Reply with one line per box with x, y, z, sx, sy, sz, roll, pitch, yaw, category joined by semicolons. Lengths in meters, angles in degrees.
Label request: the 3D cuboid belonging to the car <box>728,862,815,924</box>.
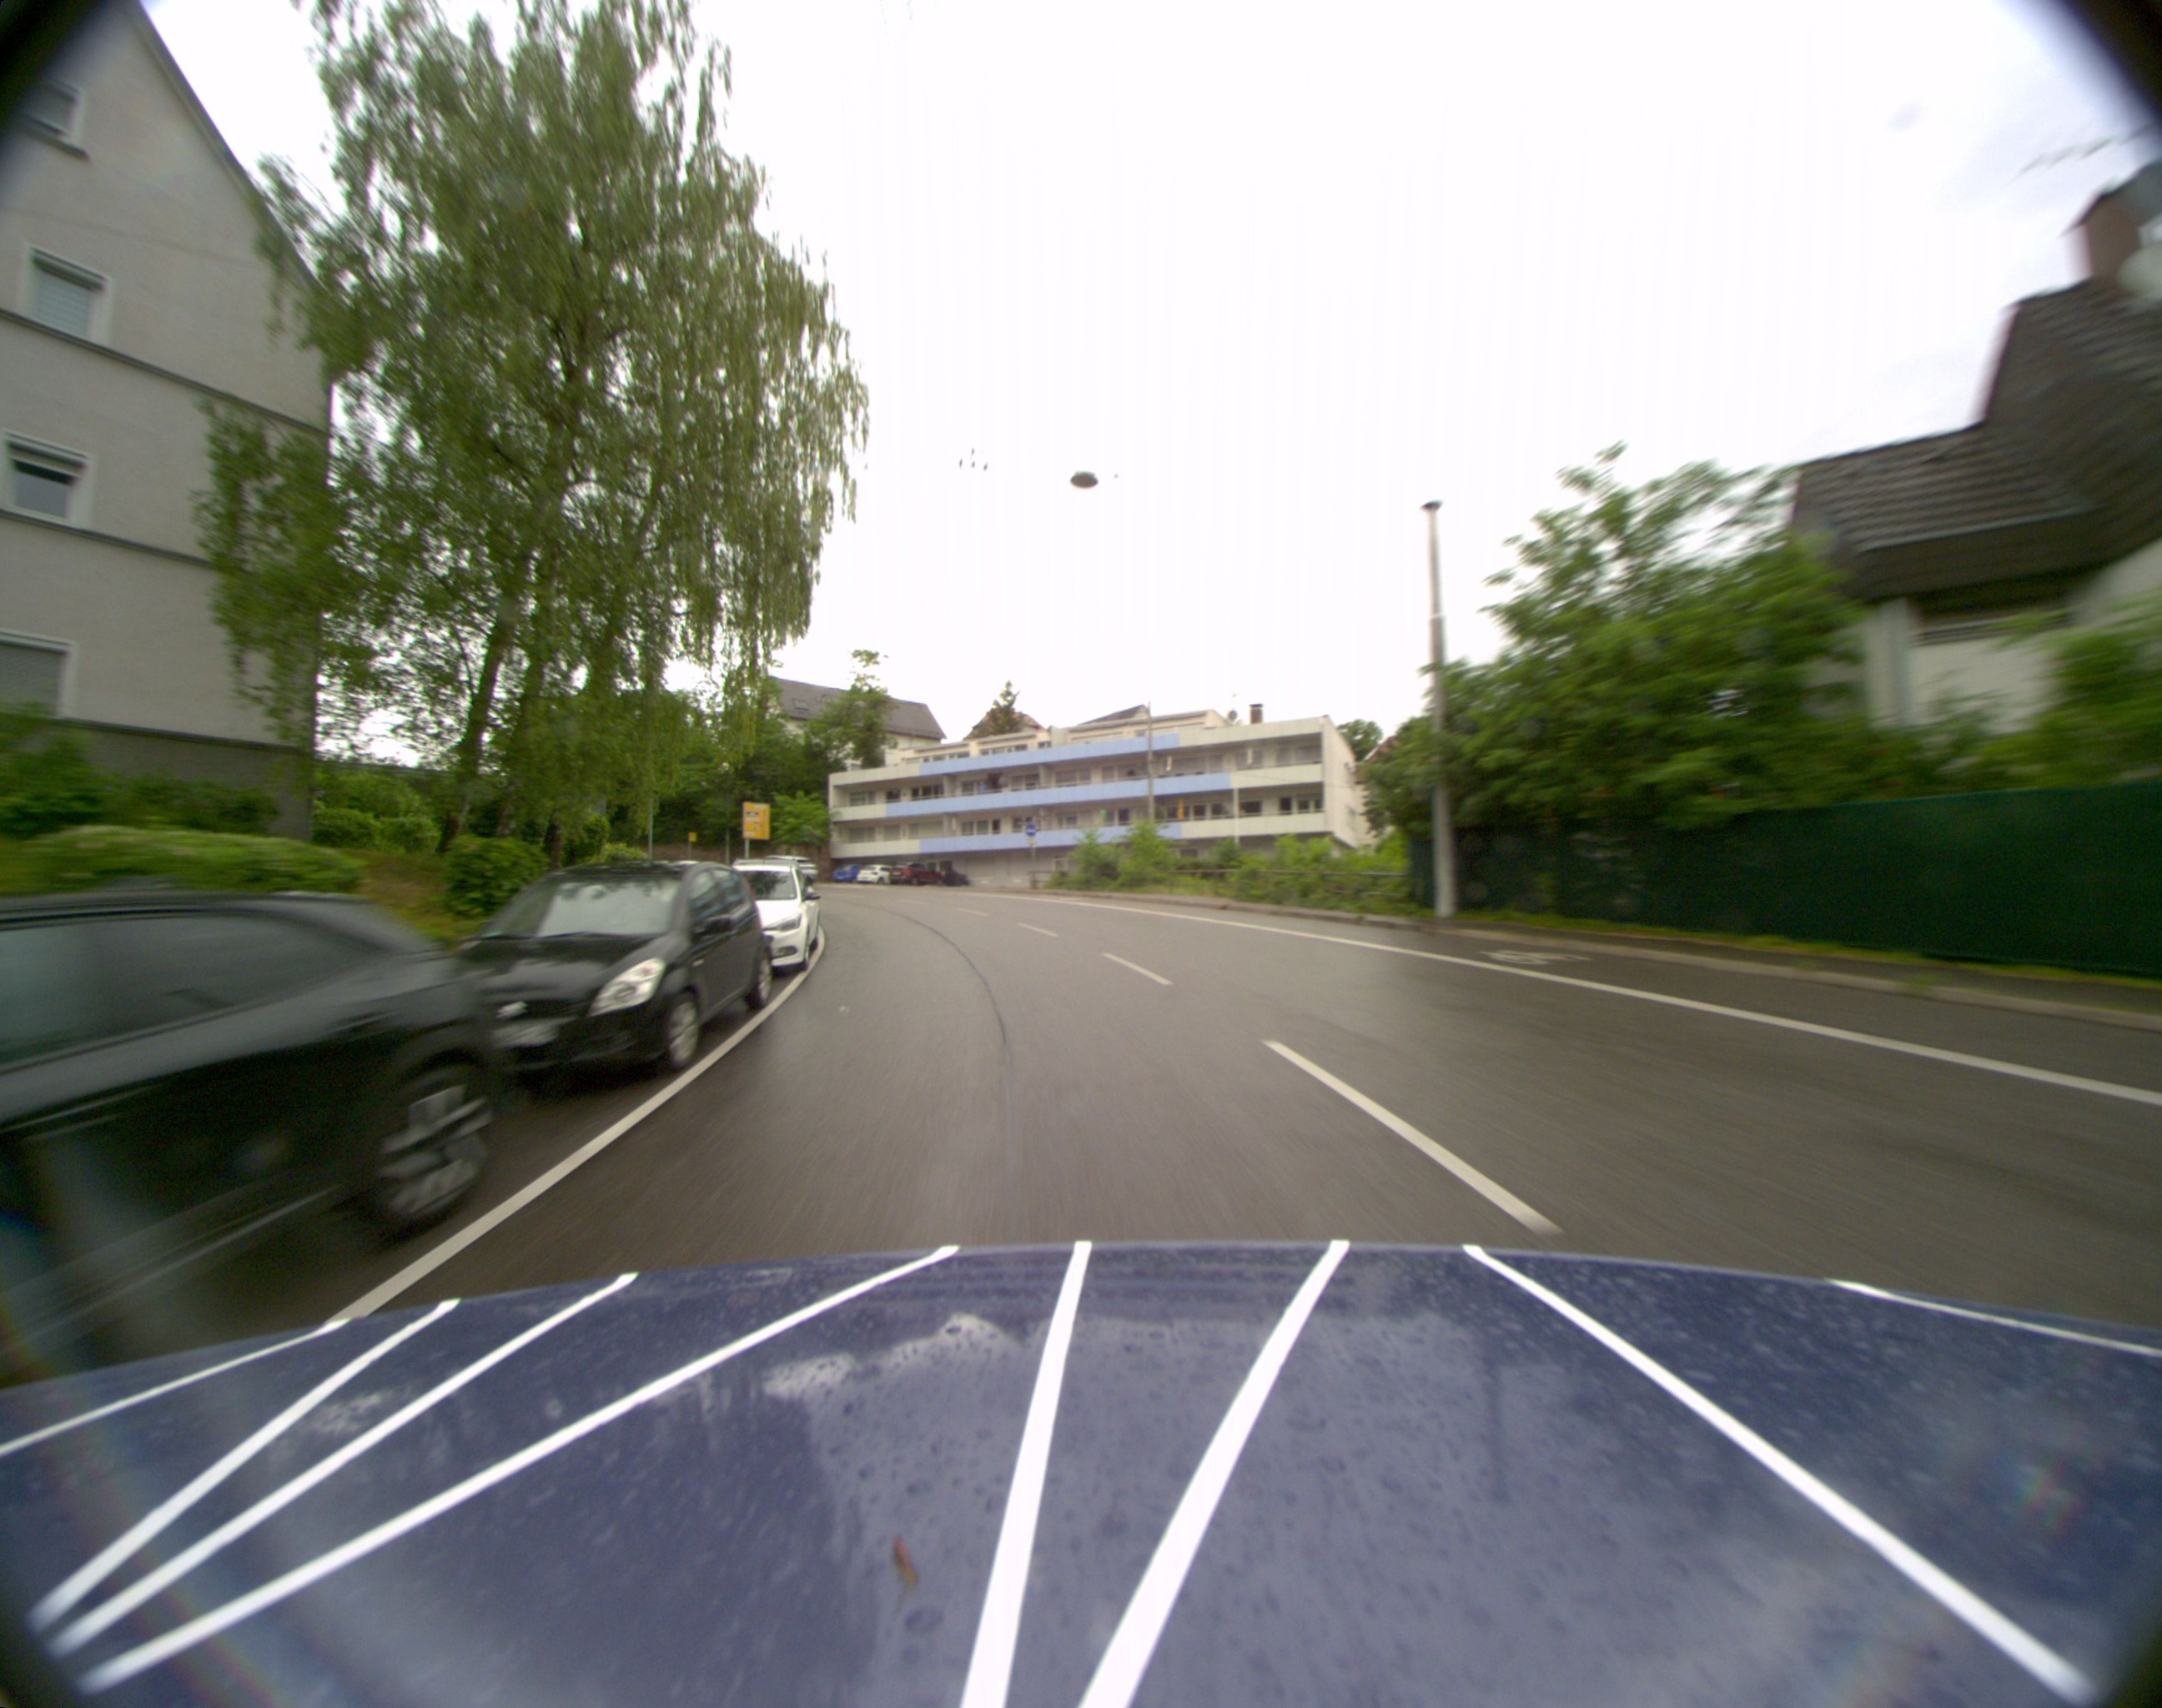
-8.637;0.983;21.019;1.798;1.438;4.096;-1;1;-28;car

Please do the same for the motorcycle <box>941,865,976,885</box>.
-8.650;1.446;53.605;2.331;1.302;0.574;2;0;11;motorcycle

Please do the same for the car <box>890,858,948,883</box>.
-10.749;1.118;50.546;1.711;1.540;3.944;1;-3;25;car

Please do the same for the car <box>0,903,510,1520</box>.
-3.597;0.966;1.672;1.720;1.427;4.068;2;0;-3;car

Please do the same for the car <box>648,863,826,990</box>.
-4.835;0.917;11.228;1.733;1.455;4.025;2;0;-15;car

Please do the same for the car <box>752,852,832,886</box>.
-14.749;0.758;38.653;4.273;1.597;1.836;1;-2;39;car

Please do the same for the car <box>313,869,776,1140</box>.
-3.854;0.929;6.277;1.625;1.496;3.602;2;0;-8;car

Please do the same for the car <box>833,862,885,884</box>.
-15.782;1.340;54.130;1.633;1.381;3.449;2;-3;23;car

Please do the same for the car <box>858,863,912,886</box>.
-13.583;1.422;52.701;1.703;1.435;3.450;0;-4;27;car

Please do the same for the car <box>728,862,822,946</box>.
-6.551;0.948;16.365;1.631;1.510;4.319;0;0;-21;car
